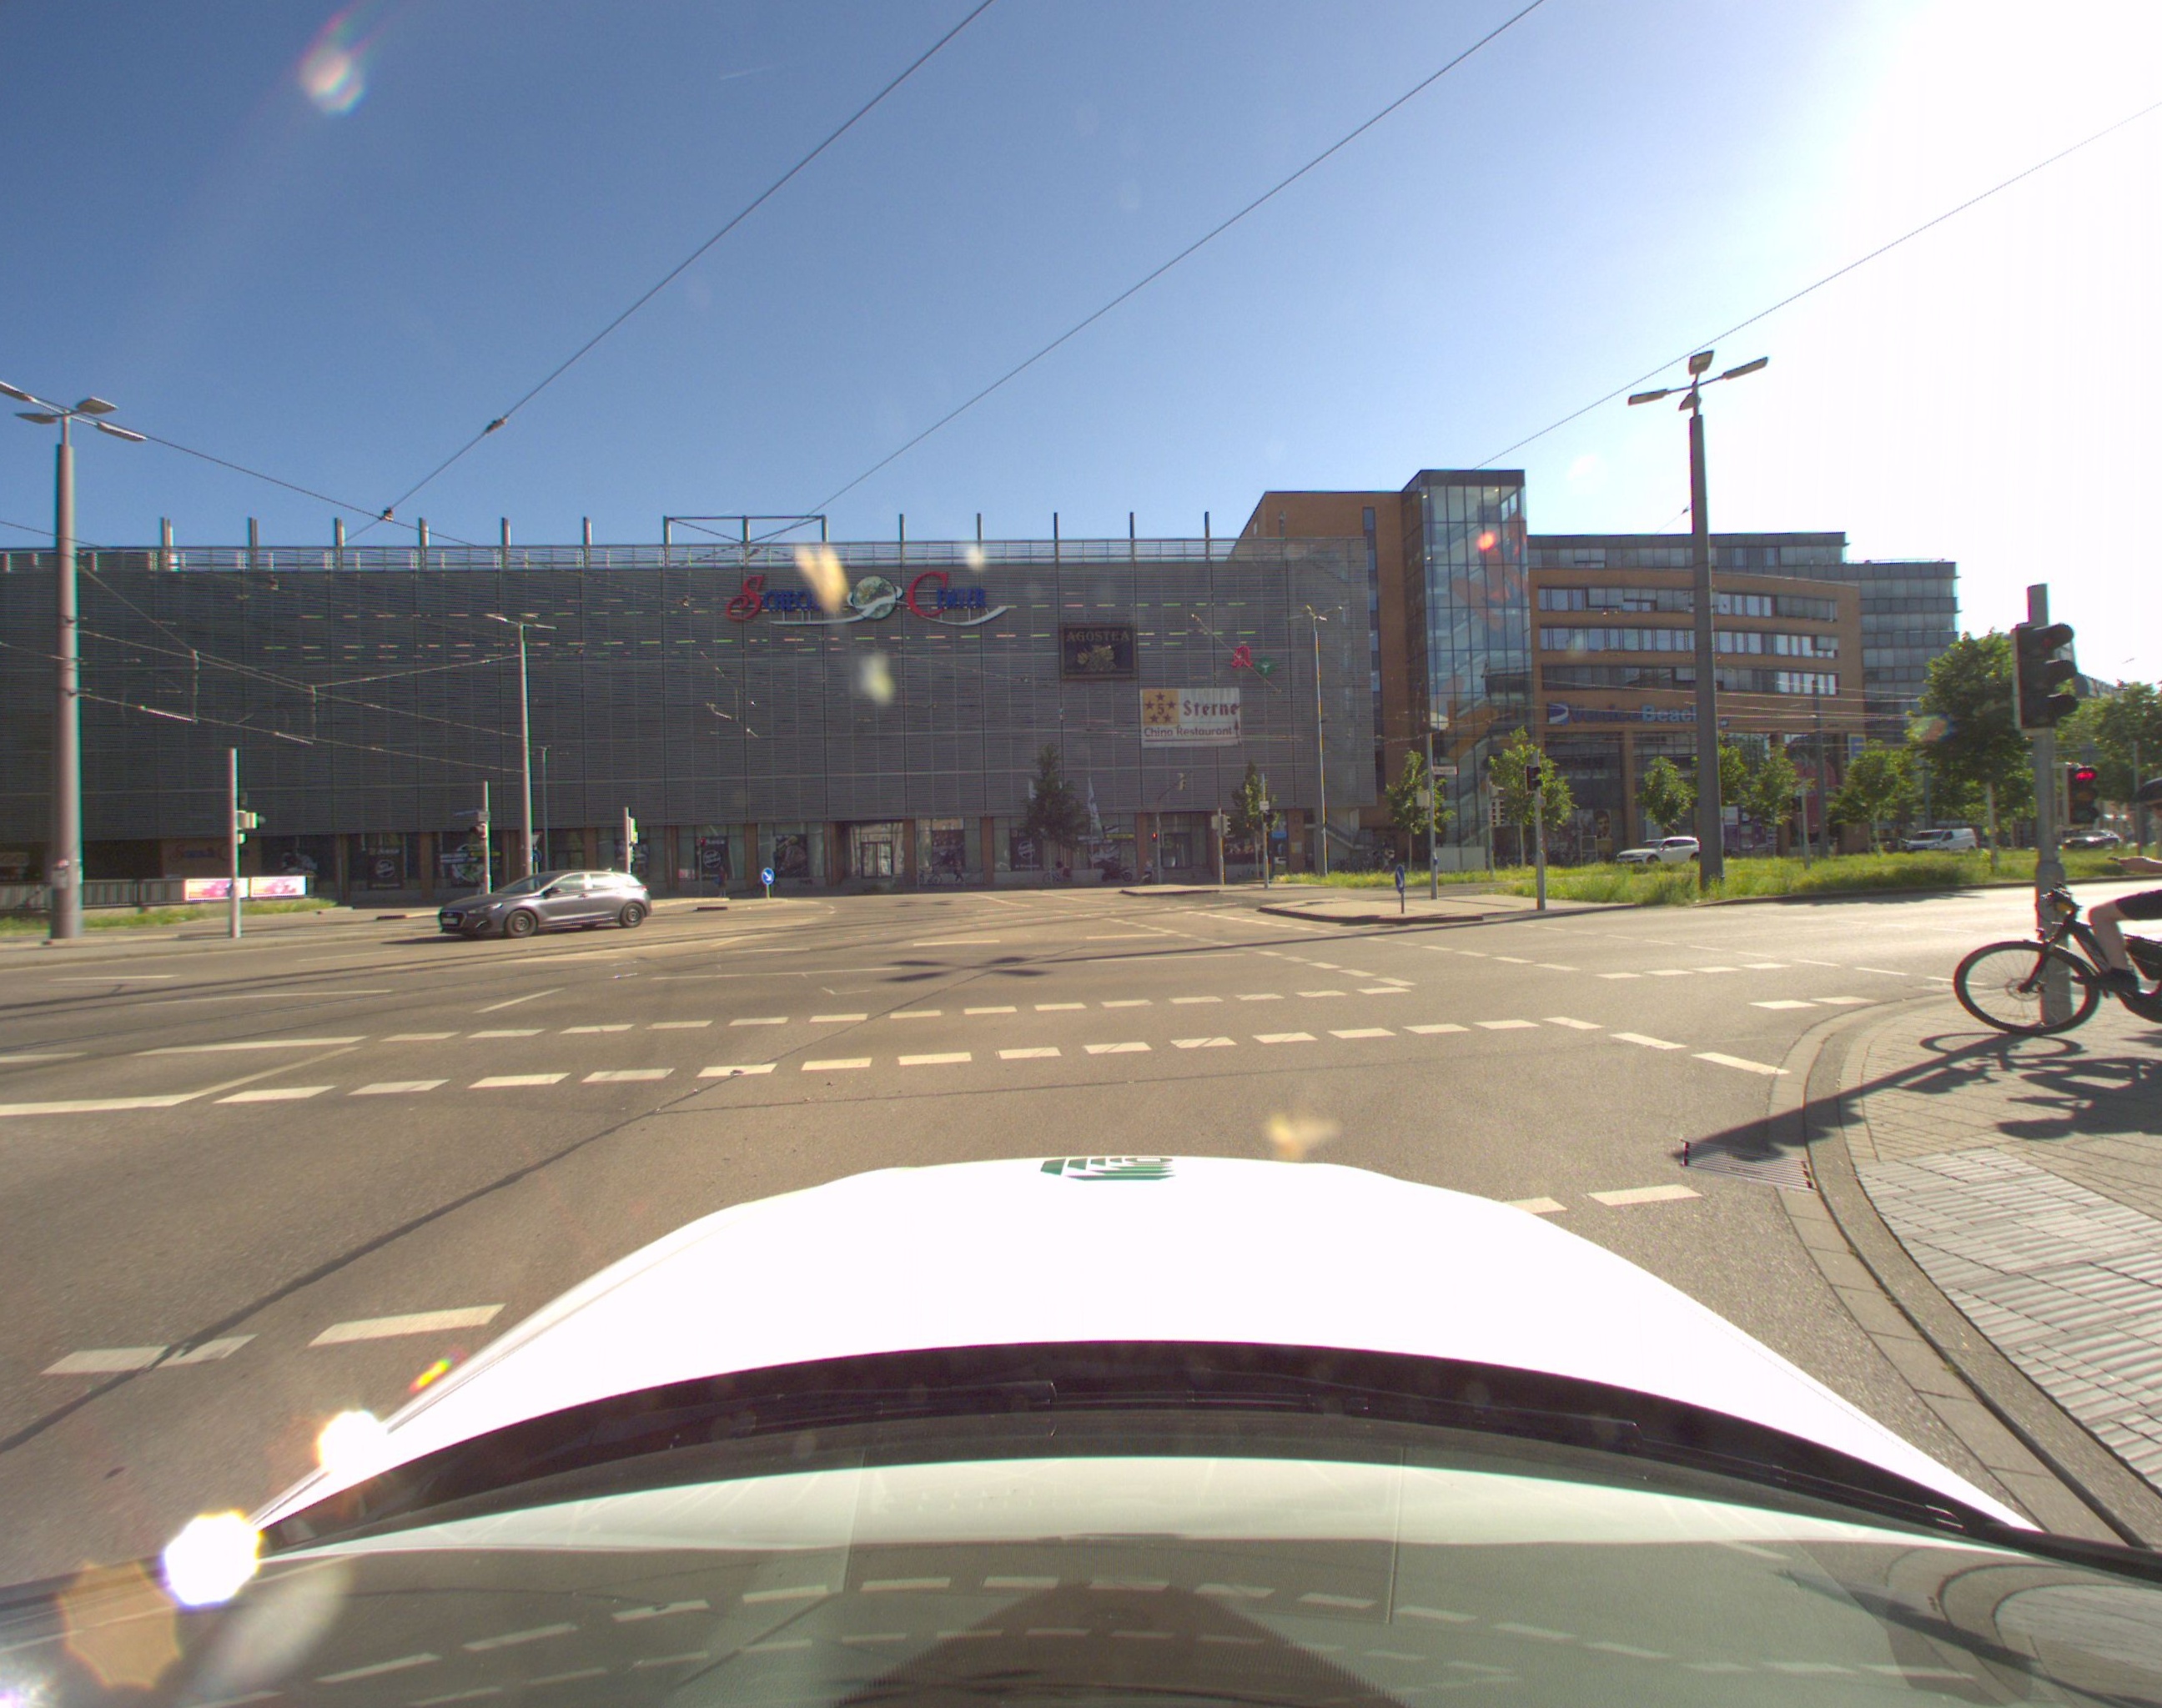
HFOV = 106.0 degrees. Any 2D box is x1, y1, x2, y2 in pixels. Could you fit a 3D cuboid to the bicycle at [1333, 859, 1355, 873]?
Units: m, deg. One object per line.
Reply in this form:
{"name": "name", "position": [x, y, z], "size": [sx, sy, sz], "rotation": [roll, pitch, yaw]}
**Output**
{"name": "bicycle", "position": [17.917, 0.804, 55.516], "size": [0.491, 0.954, 2.173], "rotation": [-1, 0, -9]}

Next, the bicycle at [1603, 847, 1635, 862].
{"name": "bicycle", "position": [41.043, 0.009, 62.155], "size": [0.751, 1.123, 2.173], "rotation": [-1, 0, -9]}

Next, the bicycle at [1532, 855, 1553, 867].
{"name": "bicycle", "position": [32.962, 0.472, 58.172], "size": [0.444, 0.819, 1.446], "rotation": [-1, 0, -9]}

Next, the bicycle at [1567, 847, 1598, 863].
{"name": "bicycle", "position": [38.311, 0.061, 62.222], "size": [0.751, 1.123, 2.173], "rotation": [-1, 0, -9]}

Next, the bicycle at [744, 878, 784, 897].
{"name": "bicycle", "position": [-18.052, 1.888, 46.454], "size": [2.031, 0.985, 0.553], "rotation": [-1, -1, -37]}

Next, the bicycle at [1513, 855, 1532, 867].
{"name": "bicycle", "position": [31.383, 0.501, 57.903], "size": [0.444, 0.819, 1.446], "rotation": [-1, 0, -9]}

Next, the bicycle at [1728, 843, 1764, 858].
{"name": "bicycle", "position": [51.720, -0.286, 63.351], "size": [0.751, 1.123, 2.173], "rotation": [-1, 0, -9]}

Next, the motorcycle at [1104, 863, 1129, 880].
{"name": "motorcycle", "position": [2.332, 1.145, 53.891], "size": [1.610, 1.038, 0.401], "rotation": [-2, -1, -4]}

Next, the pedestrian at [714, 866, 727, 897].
{"name": "pedestrian", "position": [-20.528, 1.554, 46.327], "size": [0.626, 1.751, 0.584], "rotation": [-1, -1, -23]}

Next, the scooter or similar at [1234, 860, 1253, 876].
{"name": "scooter or similar", "position": [11.132, 0.960, 55.734], "size": [1.199, 1.103, 0.277], "rotation": [0, -1, -2]}

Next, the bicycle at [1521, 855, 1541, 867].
{"name": "bicycle", "position": [31.990, 0.485, 57.916], "size": [0.444, 0.819, 1.446], "rotation": [-1, 0, -9]}

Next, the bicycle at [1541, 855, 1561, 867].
{"name": "bicycle", "position": [33.689, 0.471, 58.391], "size": [0.444, 0.819, 1.446], "rotation": [-1, 0, -9]}

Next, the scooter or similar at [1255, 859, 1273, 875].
{"name": "scooter or similar", "position": [12.594, 0.902, 56.073], "size": [1.199, 1.103, 0.277], "rotation": [0, -1, -2]}

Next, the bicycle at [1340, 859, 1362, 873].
{"name": "bicycle", "position": [18.455, 0.815, 55.668], "size": [0.491, 0.954, 2.173], "rotation": [-1, 0, -9]}

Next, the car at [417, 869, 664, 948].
{"name": "car", "position": [-12.295, 1.166, 18.871], "size": [1.975, 1.499, 4.335], "rotation": [-2, -1, 26]}

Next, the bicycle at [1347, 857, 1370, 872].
{"name": "bicycle", "position": [19.027, 0.696, 55.904], "size": [0.491, 0.954, 2.173], "rotation": [-1, 0, -9]}

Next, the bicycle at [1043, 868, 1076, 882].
{"name": "bicycle", "position": [-1.343, 1.313, 51.052], "size": [2.038, 0.867, 0.681], "rotation": [-2, -1, -5]}

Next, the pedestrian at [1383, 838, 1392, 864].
{"name": "pedestrian", "position": [22.876, -0.240, 60.705], "size": [0.537, 1.915, 0.374], "rotation": [0, -1, 4]}

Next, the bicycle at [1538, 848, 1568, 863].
{"name": "bicycle", "position": [35.855, 0.115, 61.921], "size": [0.751, 1.123, 2.173], "rotation": [-1, 0, -9]}

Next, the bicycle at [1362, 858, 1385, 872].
{"name": "bicycle", "position": [20.077, 0.742, 55.937], "size": [0.491, 0.954, 2.173], "rotation": [-1, 0, -9]}

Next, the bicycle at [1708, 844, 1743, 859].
{"name": "bicycle", "position": [49.921, -0.222, 63.121], "size": [0.751, 1.123, 2.173], "rotation": [-1, 0, -9]}

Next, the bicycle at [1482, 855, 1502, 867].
{"name": "bicycle", "position": [29.206, 0.513, 57.893], "size": [0.444, 0.819, 1.446], "rotation": [-1, 0, -9]}

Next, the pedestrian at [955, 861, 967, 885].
{"name": "pedestrian", "position": [-7.643, 1.184, 51.971], "size": [0.645, 1.519, 0.491], "rotation": [-2, -1, 0]}

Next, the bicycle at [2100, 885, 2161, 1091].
{"name": "bicycle", "position": [6.174, 0.706, 3.648], "size": [0.692, 1.105, 2.013], "rotation": [-3, -1, 3]}

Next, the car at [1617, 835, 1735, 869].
{"name": "car", "position": [31.665, -0.115, 43.377], "size": [5.530, 1.652, 1.807], "rotation": [-2, -1, -11]}

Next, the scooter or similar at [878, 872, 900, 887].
{"name": "scooter or similar", "position": [-11.432, 1.500, 48.529], "size": [1.222, 0.851, 0.300], "rotation": [-2, -1, -7]}

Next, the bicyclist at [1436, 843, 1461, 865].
{"name": "bicyclist", "position": [24.310, 0.031, 53.890], "size": [1.305, 1.407, 0.593], "rotation": [-2, -1, -3]}

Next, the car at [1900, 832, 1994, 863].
{"name": "car", "position": [61.396, -0.429, 57.768], "size": [5.245, 2.014, 2.218], "rotation": [-2, -1, -14]}

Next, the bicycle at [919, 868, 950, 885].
{"name": "bicycle", "position": [-9.496, 1.430, 52.910], "size": [1.944, 1.038, 0.571], "rotation": [-2, -1, -9]}

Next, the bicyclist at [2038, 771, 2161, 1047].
{"name": "bicyclist", "position": [7.279, 0.354, 5.442], "size": [0.548, 1.798, 0.903], "rotation": [-3, -2, -9]}

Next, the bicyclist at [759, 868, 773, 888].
{"name": "bicyclist", "position": [-17.989, 1.361, 46.512], "size": [0.566, 1.139, 0.553], "rotation": [-1, -1, -37]}

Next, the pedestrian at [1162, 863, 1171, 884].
{"name": "pedestrian", "position": [5.078, 1.130, 48.137], "size": [0.446, 1.229, 0.397], "rotation": [-1, -1, -3]}

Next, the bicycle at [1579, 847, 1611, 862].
{"name": "bicycle", "position": [39.231, 0.060, 62.182], "size": [0.751, 1.123, 2.173], "rotation": [-1, 0, -9]}

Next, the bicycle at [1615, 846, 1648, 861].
{"name": "bicycle", "position": [42.047, -0.024, 62.223], "size": [0.751, 1.123, 2.173], "rotation": [-1, 0, -9]}

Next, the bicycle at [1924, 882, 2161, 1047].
{"name": "bicycle", "position": [7.258, 0.731, 5.661], "size": [0.604, 1.038, 1.889], "rotation": [-3, -2, -9]}

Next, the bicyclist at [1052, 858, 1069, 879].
{"name": "bicyclist", "position": [-1.289, 0.916, 51.073], "size": [1.034, 1.318, 0.681], "rotation": [-2, -1, -5]}

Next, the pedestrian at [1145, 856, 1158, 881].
{"name": "pedestrian", "position": [4.212, 0.850, 48.796], "size": [0.735, 1.487, 0.491], "rotation": [-2, -1, 6]}

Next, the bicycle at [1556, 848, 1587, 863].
{"name": "bicycle", "position": [37.369, 0.099, 62.071], "size": [0.751, 1.123, 2.173], "rotation": [-1, 0, -9]}

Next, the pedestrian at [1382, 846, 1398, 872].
{"name": "pedestrian", "position": [20.703, 0.339, 54.516], "size": [0.778, 1.685, 0.594], "rotation": [-1, -1, -18]}

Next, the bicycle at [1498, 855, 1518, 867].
{"name": "bicycle", "position": [30.387, 0.507, 58.004], "size": [0.444, 0.819, 1.446], "rotation": [-1, 0, -9]}
